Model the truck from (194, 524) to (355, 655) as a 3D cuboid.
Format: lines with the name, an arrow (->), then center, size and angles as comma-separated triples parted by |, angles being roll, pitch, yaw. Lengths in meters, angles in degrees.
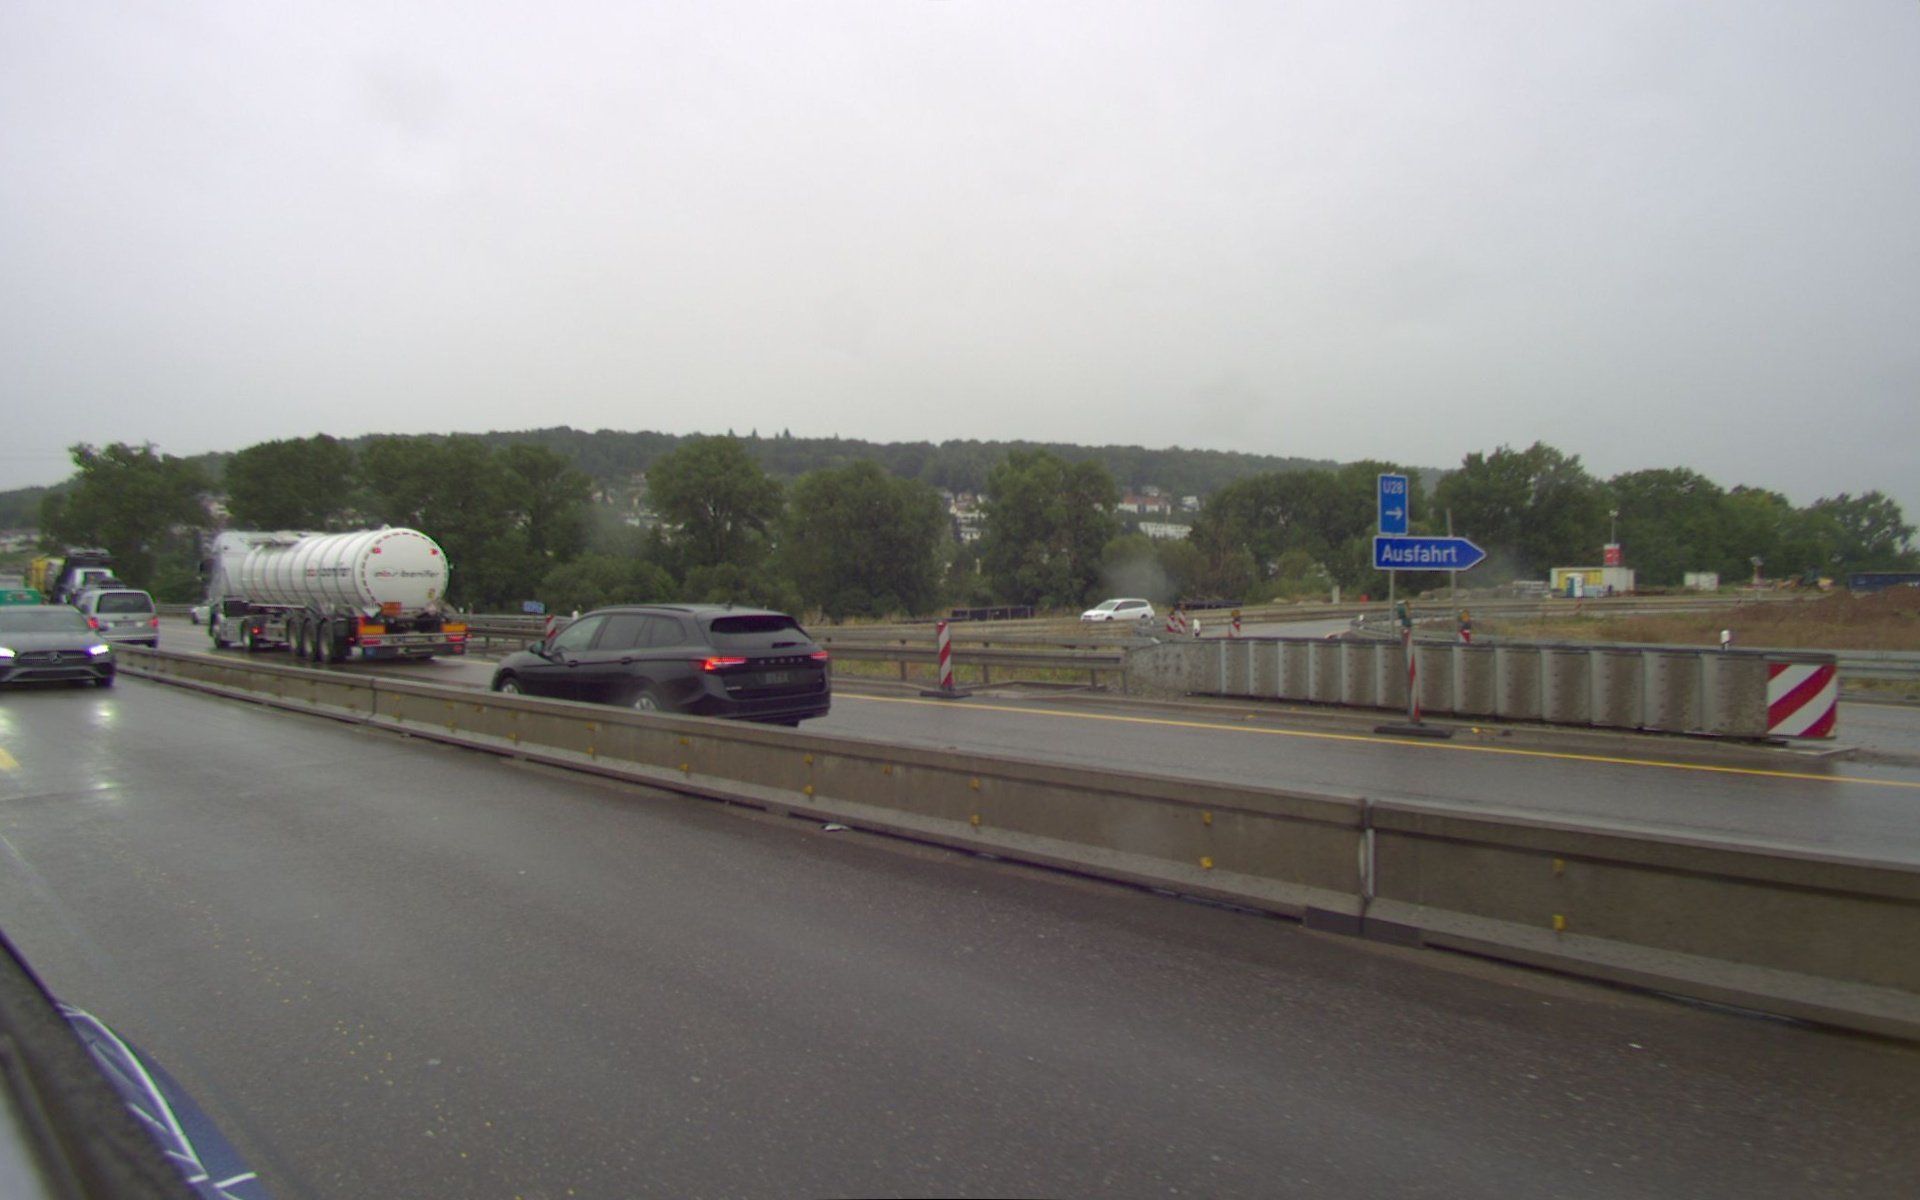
truck -> -21.665, -0.291, 31.830 | 6.591, 3.705, 2.593 | 0, 0, 41

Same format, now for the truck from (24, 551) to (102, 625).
truck -> -52.640, -0.675, 59.322 | 6.146, 4.093, 2.720 | 0, 0, 42

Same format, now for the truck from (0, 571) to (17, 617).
truck -> -84.824, -0.544, 88.685 | 5.272, 3.957, 2.658 | 0, -1, 41

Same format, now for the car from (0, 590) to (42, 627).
car -> -46.915, 0.418, 49.906 | 4.686, 1.772, 1.972 | 0, 0, 42

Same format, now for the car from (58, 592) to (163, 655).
car -> -26.060, 0.676, 31.014 | 4.161, 1.813, 1.846 | 0, 0, 41

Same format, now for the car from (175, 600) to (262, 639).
car -> -40.918, 1.037, 55.841 | 4.821, 2.078, 2.051 | 0, 0, 29

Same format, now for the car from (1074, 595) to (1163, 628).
car -> 8.750, 0.592, 55.552 | 4.962, 1.713, 1.855 | 0, 0, -35

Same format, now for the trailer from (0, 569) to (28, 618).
trailer -> -81.667, -0.526, 85.895 | 9.816, 3.993, 2.657 | 0, -1, 42

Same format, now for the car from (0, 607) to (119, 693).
car -> -17.547, 0.879, 19.134 | 4.482, 1.449, 1.926 | -1, -1, 42

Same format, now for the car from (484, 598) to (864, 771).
car -> -3.296, 0.768, 11.081 | 4.676, 1.516, 1.754 | -1, -1, 41

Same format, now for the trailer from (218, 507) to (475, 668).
trailer -> -17.458, -0.279, 28.197 | 11.997, 3.705, 2.593 | 0, 0, 41

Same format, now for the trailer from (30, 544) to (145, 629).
trailer -> -47.091, -0.659, 54.345 | 15.354, 4.073, 2.720 | 0, 0, 42
